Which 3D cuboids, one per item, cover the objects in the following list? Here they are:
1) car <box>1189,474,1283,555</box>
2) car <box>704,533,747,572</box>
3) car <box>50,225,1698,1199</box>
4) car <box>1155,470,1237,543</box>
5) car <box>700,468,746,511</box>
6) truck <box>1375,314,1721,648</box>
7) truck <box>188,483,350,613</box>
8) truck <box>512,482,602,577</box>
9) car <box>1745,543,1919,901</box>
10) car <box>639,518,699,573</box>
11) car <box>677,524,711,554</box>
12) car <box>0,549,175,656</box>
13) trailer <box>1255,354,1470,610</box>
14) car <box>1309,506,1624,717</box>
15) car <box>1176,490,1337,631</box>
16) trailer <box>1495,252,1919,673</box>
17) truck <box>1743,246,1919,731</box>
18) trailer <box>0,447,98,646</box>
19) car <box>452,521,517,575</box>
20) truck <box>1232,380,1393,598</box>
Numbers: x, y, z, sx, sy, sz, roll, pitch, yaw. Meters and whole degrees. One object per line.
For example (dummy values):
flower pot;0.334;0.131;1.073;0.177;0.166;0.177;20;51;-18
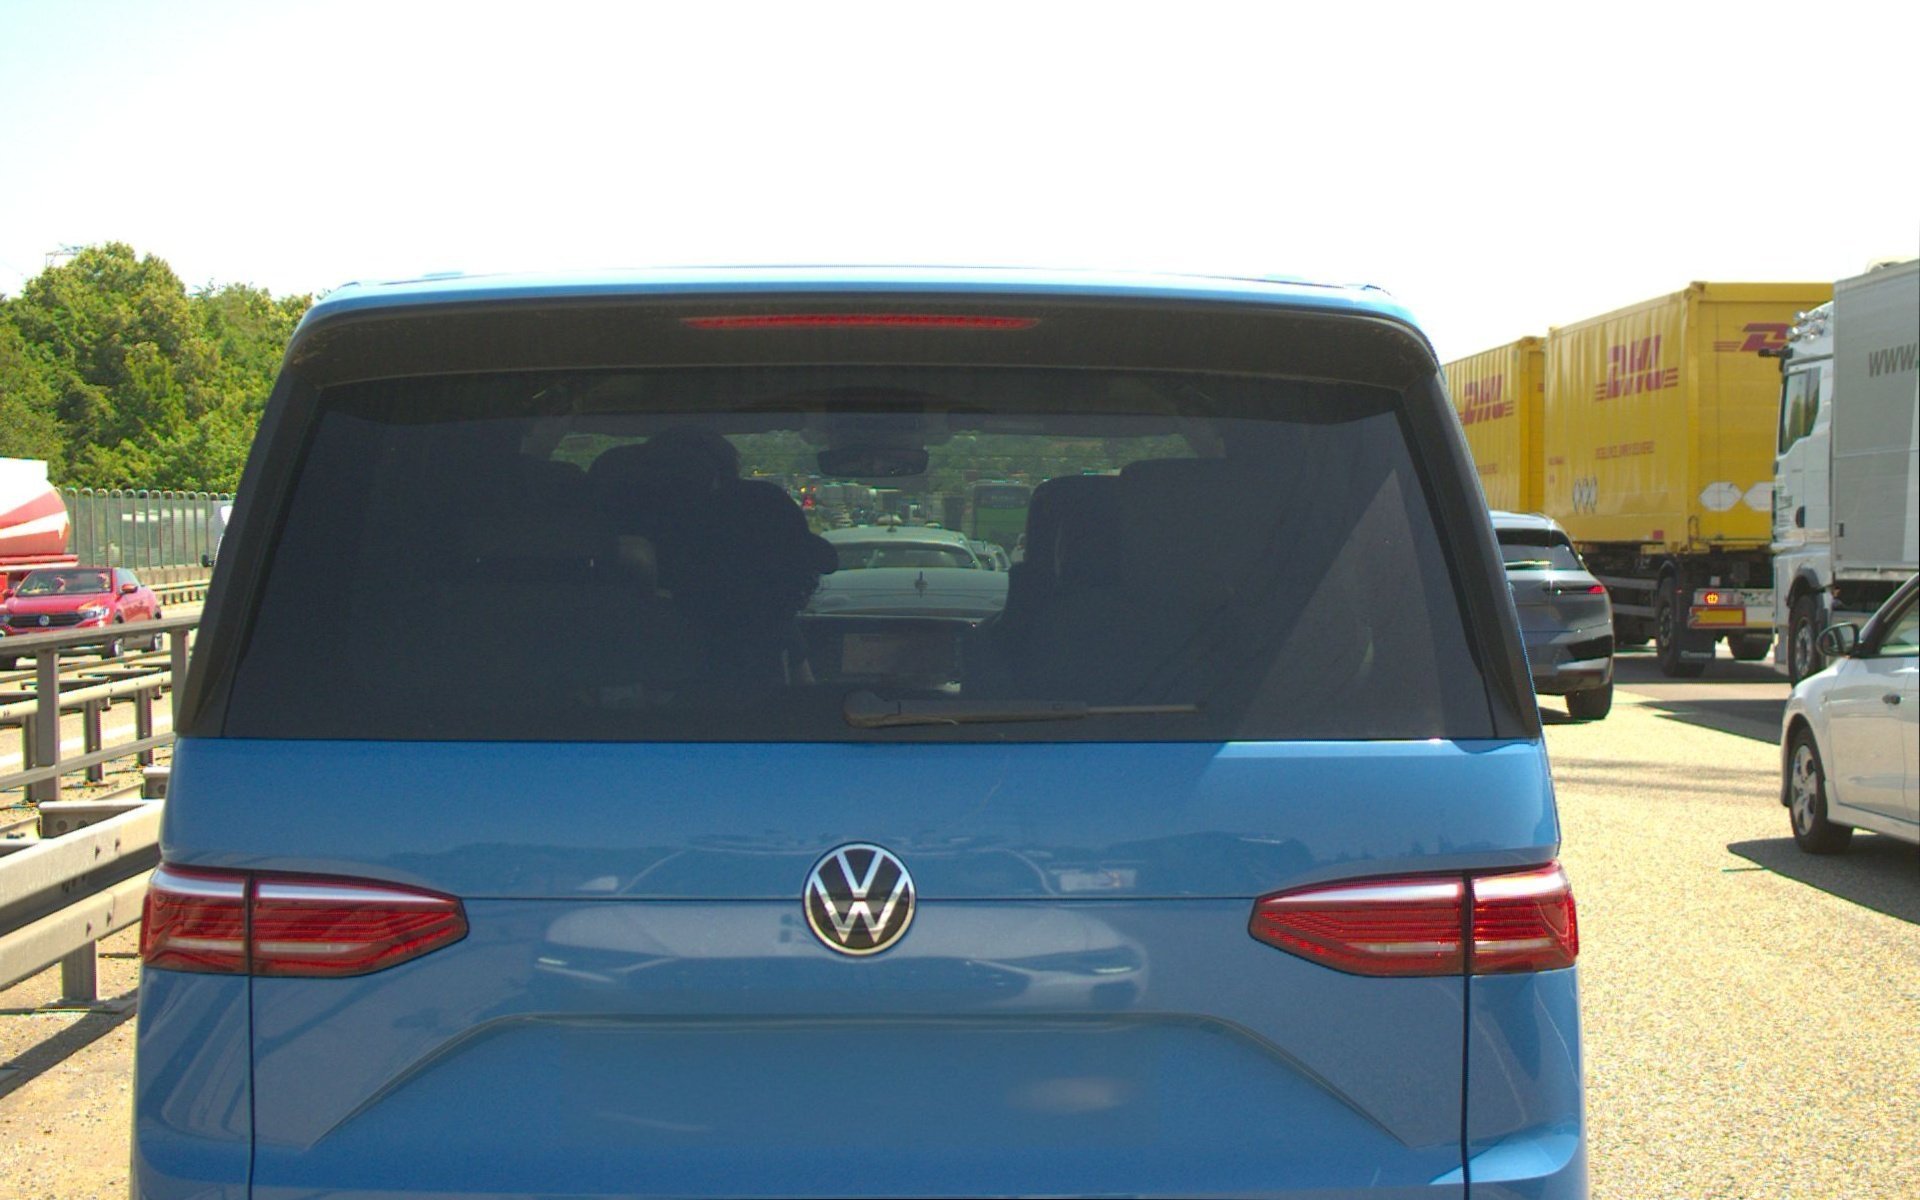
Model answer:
car;7.015;-2.165;87.711;1.993;2.007;4.000;1;1;-1
car;-12.406;-2.511;181.901;1.993;2.007;4.312;1;1;-1
car;-0.119;0.488;5.867;1.820;1.851;4.075;1;1;-1
car;6.708;-2.644;98.118;1.993;2.007;4.461;-1;1;0
car;-11.654;-5.434;169.516;1.993;2.007;4.312;1;1;-1
truck;8.168;-1.610;49.387;2.836;4.228;11.011;1;1;-1
truck;-18.070;-1.371;90.383;2.518;3.100;8.724;-4;1;-1
truck;-15.070;-2.621;129.068;2.561;3.348;8.865;-2;1;-2
car;4.806;0.488;14.859;1.788;1.450;4.293;0;1;-1
car;-10.773;-2.016;127.558;1.901;2.007;4.000;1;1;-1
car;-18.330;-4.205;237.074;1.993;2.007;4.000;1;1;0
car;-13.011;0.016;50.752;1.863;1.439;4.131;-3;1;0
trailer;7.615;-2.208;66.529;2.637;4.501;11.302;1;1;-1
car;4.162;0.046;28.909;1.962;1.639;4.293;0;1;-1
car;4.330;-0.599;50.765;1.962;1.986;4.293;0;1;-1
trailer;8.340;-1.452;39.362;2.864;4.224;9.012;1;1;-1
truck;8.524;-0.839;25.658;2.656;3.635;11.012;0;1;-1
trailer;-17.343;-0.859;58.180;2.481;3.332;12.074;-2;1;-1
car;-19.917;-2.209;144.189;2.082;2.142;4.312;-2;1;0
truck;7.524;-2.330;74.149;2.667;4.469;6.850;1;1;0
